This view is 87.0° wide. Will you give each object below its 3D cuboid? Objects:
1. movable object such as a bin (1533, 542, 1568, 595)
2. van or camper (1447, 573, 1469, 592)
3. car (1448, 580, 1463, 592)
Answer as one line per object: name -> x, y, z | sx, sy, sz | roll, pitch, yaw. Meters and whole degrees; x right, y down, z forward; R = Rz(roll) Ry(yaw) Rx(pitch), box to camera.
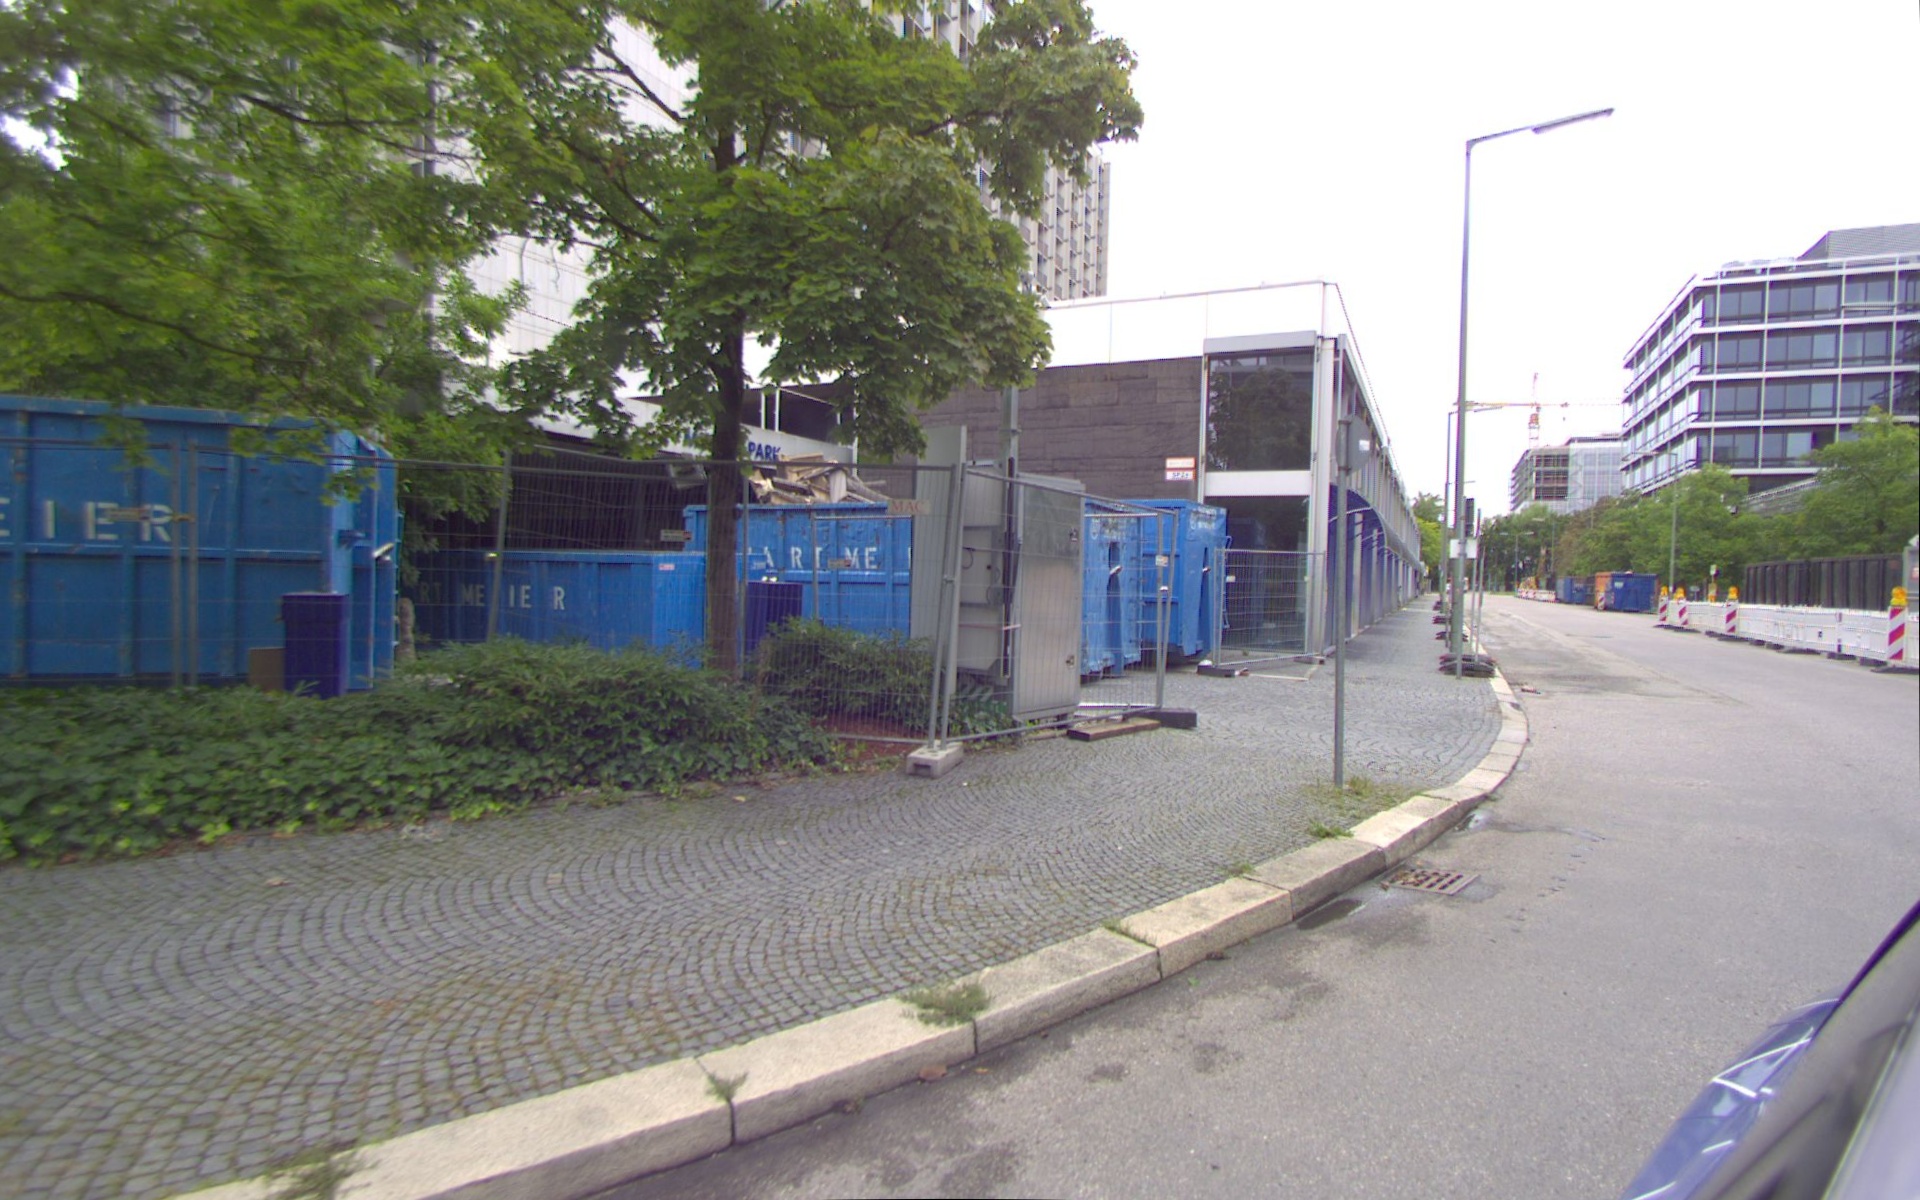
movable object such as a bin -> 73.144, -3.863, 125.446 | 3.215, 6.400, 8.255 | 2, 2, 28
van or camper -> 78.143, -2.780, 158.770 | 2.646, 2.801, 6.845 | 2, 2, 29
car -> 75.105, -2.104, 153.339 | 1.896, 1.657, 3.962 | 2, 2, 27
